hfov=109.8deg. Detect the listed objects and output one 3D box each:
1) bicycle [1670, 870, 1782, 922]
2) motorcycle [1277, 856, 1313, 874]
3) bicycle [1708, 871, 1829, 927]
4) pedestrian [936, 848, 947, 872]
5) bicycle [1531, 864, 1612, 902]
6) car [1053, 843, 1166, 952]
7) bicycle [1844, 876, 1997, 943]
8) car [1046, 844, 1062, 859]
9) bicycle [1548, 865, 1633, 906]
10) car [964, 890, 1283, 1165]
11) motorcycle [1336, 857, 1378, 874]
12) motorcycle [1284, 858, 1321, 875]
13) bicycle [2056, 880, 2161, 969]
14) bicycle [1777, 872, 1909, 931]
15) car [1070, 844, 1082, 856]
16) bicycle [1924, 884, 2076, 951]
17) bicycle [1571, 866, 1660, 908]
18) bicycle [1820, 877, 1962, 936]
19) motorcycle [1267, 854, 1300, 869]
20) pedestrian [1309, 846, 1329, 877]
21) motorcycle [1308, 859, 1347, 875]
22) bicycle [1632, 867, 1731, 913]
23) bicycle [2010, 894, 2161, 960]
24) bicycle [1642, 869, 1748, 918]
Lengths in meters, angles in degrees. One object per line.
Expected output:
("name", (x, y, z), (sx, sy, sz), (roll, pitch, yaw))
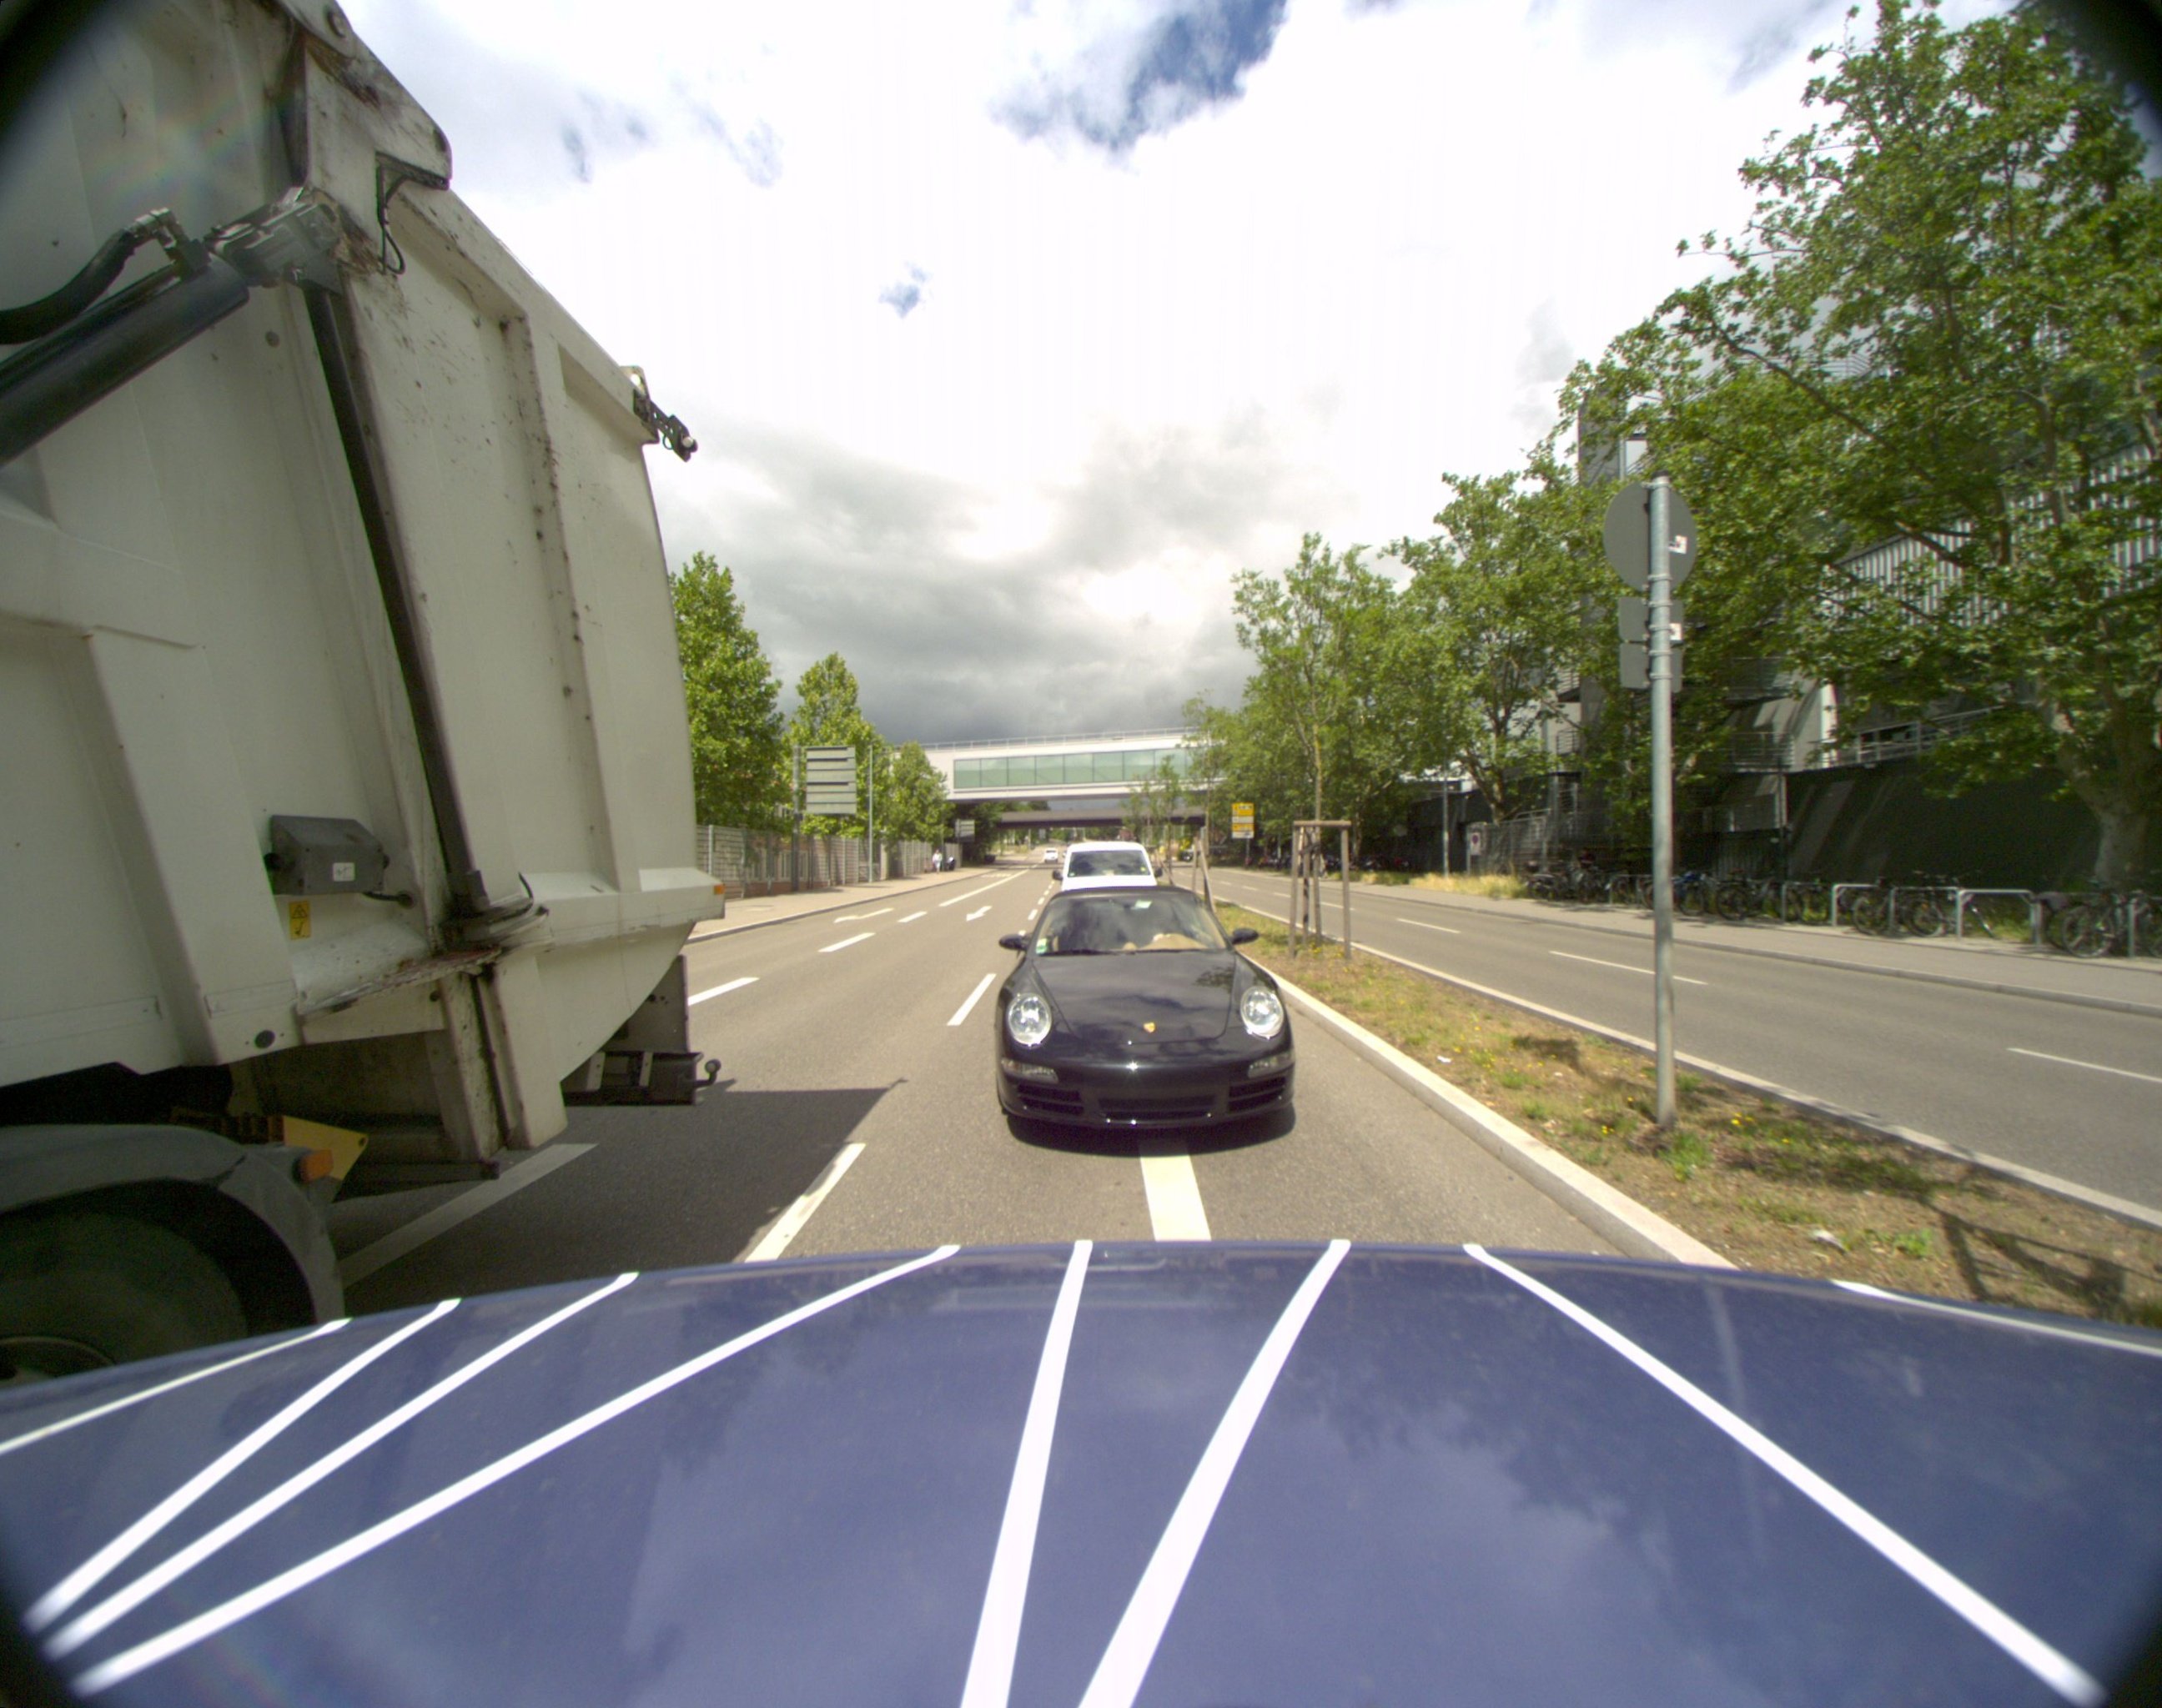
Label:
("bicycle", (14.477, 0.935, 17.073), (2.129, 1.104, 0.382), (-1, 1, 3))
("motorcycle", (13.788, 0.710, 49.037), (2.133, 1.131, 0.534), (-1, 0, 1))
("bicycle", (14.498, 0.946, 16.049), (2.129, 1.104, 0.382), (-1, 1, 3))
("pedestrian", (-11.193, 0.452, 61.115), (0.739, 1.901, 0.658), (-2, 1, -3))
("bicycle", (14.745, 0.869, 22.852), (2.129, 1.104, 0.382), (-1, 1, 3))
("car", (0.518, 0.735, 15.347), (1.862, 1.800, 4.906), (-1, 0, 1))
("bicycle", (14.576, 0.959, 13.210), (2.129, 1.089, 0.382), (-1, 1, 3))
("car", (-3.895, -0.326, 111.118), (1.925, 2.082, 4.657), (-1, 0, 2))
("bicycle", (14.750, 0.905, 22.010), (2.129, 1.104, 0.382), (-1, 1, 3))
("car", (0.259, 1.036, 6.045), (1.710, 1.280, 3.806), (-1, 0, 1))
("motorcycle", (15.393, 0.660, 42.401), (2.133, 0.893, 0.534), (-1, 0, 1))
("motorcycle", (13.782, 0.773, 47.311), (2.133, 0.963, 0.534), (-1, 0, 1))
("bicycle", (14.352, 0.930, 10.227), (1.993, 1.121, 0.382), (-1, 1, -1))
("bicycle", (15.039, 0.929, 15.010), (2.129, 1.104, 0.382), (-1, 1, 3))
("car", (-0.778, -0.651, 125.562), (1.862, 1.800, 4.357), (-3, 0, 1))
("bicycle", (14.751, 1.016, 12.209), (1.993, 0.992, 0.382), (-1, 1, -1))
("bicycle", (14.819, 0.918, 21.087), (2.129, 1.104, 0.382), (-1, 1, 3))
("bicycle", (15.009, 0.972, 14.104), (2.129, 1.025, 0.382), (-1, 1, 3))
("motorcycle", (13.797, 0.541, 51.800), (2.133, 0.963, 0.534), (-1, 0, 1))
("pedestrian", (13.203, 0.404, 42.127), (0.900, 1.710, 0.673), (-1, 1, 1))
("motorcycle", (14.528, 0.753, 44.753), (2.133, 0.880, 0.534), (-1, 0, 1))
("bicycle", (15.062, 0.898, 19.075), (2.129, 1.104, 0.382), (-1, 1, 3))
("bicycle", (14.954, 1.074, 11.229), (1.993, 0.885, 0.382), (-1, 1, -1))
("bicycle", (14.502, 0.927, 17.960), (2.129, 1.104, 0.382), (-1, 1, 3))
